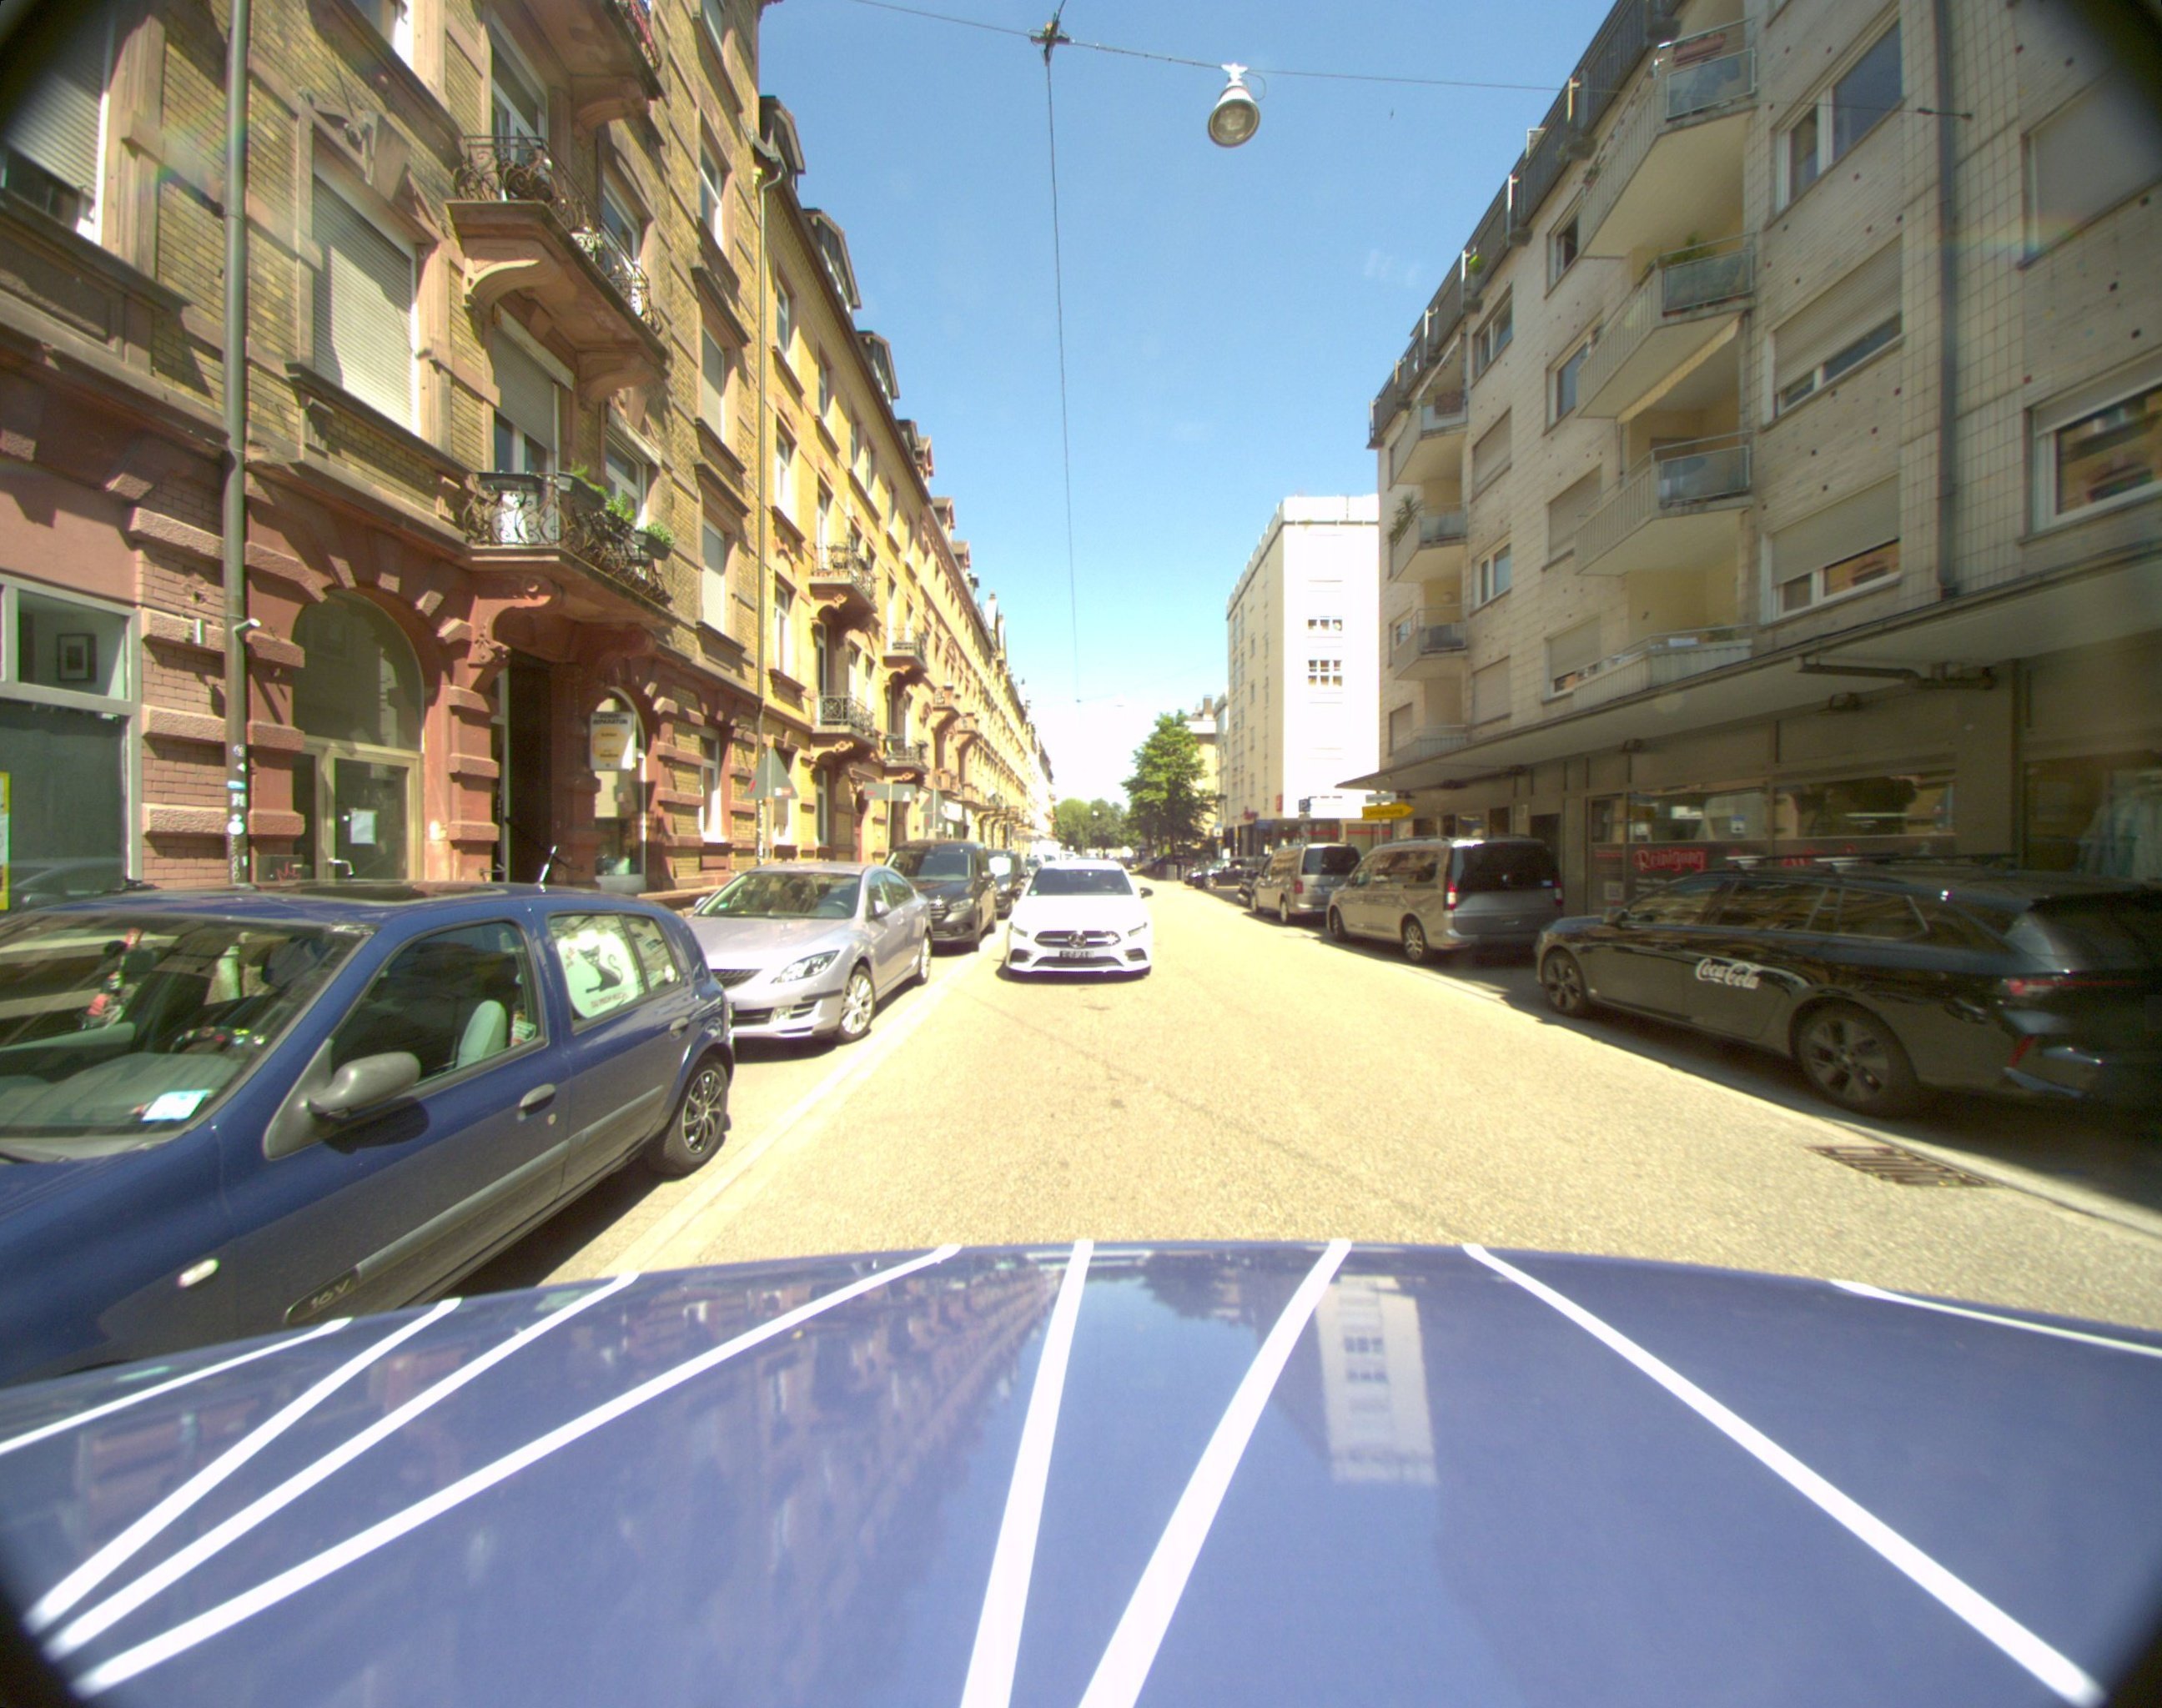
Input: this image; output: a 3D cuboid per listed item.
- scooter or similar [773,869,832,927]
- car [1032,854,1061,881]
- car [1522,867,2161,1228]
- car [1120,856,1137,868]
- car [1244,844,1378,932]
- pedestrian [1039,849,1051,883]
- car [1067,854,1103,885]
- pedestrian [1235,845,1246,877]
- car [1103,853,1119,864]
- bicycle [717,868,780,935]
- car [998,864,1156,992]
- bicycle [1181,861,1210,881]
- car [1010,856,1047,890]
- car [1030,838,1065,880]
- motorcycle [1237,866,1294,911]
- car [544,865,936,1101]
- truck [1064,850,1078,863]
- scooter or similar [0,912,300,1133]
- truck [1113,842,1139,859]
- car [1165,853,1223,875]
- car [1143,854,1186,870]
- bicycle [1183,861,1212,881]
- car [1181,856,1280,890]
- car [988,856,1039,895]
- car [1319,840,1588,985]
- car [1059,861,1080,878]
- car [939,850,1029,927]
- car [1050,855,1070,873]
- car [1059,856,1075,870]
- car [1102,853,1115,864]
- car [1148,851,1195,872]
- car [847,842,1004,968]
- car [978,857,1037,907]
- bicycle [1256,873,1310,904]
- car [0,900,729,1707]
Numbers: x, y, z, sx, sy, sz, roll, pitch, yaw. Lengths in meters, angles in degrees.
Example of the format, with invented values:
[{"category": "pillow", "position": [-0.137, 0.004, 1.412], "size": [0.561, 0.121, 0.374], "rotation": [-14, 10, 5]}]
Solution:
[{"category": "scooter or similar", "position": [-6.004, 0.919, 16.513], "size": [0.477, 1.146, 2.149], "rotation": [0, 0, 0]}, {"category": "car", "position": [-2.085, 0.789, 46.079], "size": [1.682, 1.528, 3.999], "rotation": [-1, 0, -2]}, {"category": "car", "position": [5.380, 0.912, 5.639], "size": [1.674, 1.516, 4.464], "rotation": [-1, 0, 1]}, {"category": "car", "position": [6.530, 1.074, 104.363], "size": [1.998, 1.505, 4.000], "rotation": [-2, 0, 1]}, {"category": "car", "position": [5.370, 0.720, 18.440], "size": [1.793, 1.818, 4.900], "rotation": [-1, 0, 1]}, {"category": "pedestrian", "position": [-1.987, 0.650, 41.866], "size": [0.635, 1.903, 0.370], "rotation": [0, 1, 0]}, {"category": "car", "position": [0.229, 0.792, 40.430], "size": [1.780, 1.460, 4.000], "rotation": [-2, 0, 1]}, {"category": "pedestrian", "position": [10.749, 0.486, 51.170], "size": [0.608, 2.113, 0.496], "rotation": [0, 1, 36]}, {"category": "car", "position": [4.265, 0.590, 108.632], "size": [1.998, 1.505, 4.000], "rotation": [-2, 0, 1]}, {"category": "bicycle", "position": [-5.990, 0.822, 13.772], "size": [0.354, 1.097, 1.755], "rotation": [0, 0, 0]}, {"category": "car", "position": [0.006, 0.885, 10.892], "size": [1.814, 1.417, 4.242], "rotation": [0, 0, 1]}, {"category": "bicycle", "position": [6.640, 0.972, 43.925], "size": [1.608, 1.084, 0.371], "rotation": [-2, 0, 6]}, {"category": "car", "position": [-2.398, 0.833, 35.620], "size": [1.603, 1.454, 3.689], "rotation": [-1, 0, -2]}, {"category": "car", "position": [-2.243, 0.300, 52.007], "size": [2.067, 2.687, 5.039], "rotation": [-2, 0, 1]}, {"category": "motorcycle", "position": [5.401, 0.994, 22.332], "size": [1.552, 1.277, 0.394], "rotation": [-1, 2, 33]}, {"category": "car", "position": [-2.633, 0.872, 7.159], "size": [1.730, 1.424, 4.485], "rotation": [1, 0, -1]}, {"category": "truck", "position": [-1.407, 0.371, 113.682], "size": [1.998, 2.002, 4.902], "rotation": [0, 0, 1]}, {"category": "scooter or similar", "position": [-6.028, 1.016, 5.007], "size": [0.293, 1.170, 1.273], "rotation": [0, 0, 10]}, {"category": "truck", "position": [8.724, -0.691, 147.295], "size": [2.757, 3.270, 4.968], "rotation": [1, 1, 37]}, {"category": "car", "position": [7.947, 0.707, 53.602], "size": [3.885, 1.520, 1.652], "rotation": [0, 0, 0]}, {"category": "car", "position": [7.856, 0.737, 71.749], "size": [3.885, 1.487, 1.652], "rotation": [0, 0, 0]}, {"category": "bicycle", "position": [6.531, 0.940, 42.637], "size": [1.608, 1.084, 0.371], "rotation": [-2, 0, 6]}, {"category": "car", "position": [6.529, 0.803, 33.461], "size": [3.891, 1.417, 1.814], "rotation": [0, 0, -8]}, {"category": "car", "position": [-2.697, 0.825, 31.009], "size": [1.830, 1.452, 3.999], "rotation": [-1, 0, -2]}, {"category": "car", "position": [5.491, 0.743, 12.023], "size": [1.793, 1.801, 4.698], "rotation": [-1, 0, -2]}, {"category": "car", "position": [-0.920, 1.214, 60.373], "size": [1.533, 1.293, 3.686], "rotation": [-1, 0, -2]}, {"category": "car", "position": [-2.340, 0.772, 19.322], "size": [1.706, 1.723, 4.000], "rotation": [-1, 0, 1]}, {"category": "car", "position": [-1.880, 0.892, 67.633], "size": [1.682, 1.528, 3.999], "rotation": [-1, 0, -2]}, {"category": "car", "position": [-1.617, 1.002, 86.134], "size": [1.682, 1.528, 3.999], "rotation": [-1, 0, -2]}, {"category": "car", "position": [4.600, 0.770, 127.727], "size": [1.998, 1.674, 4.000], "rotation": [-2, 0, 1]}, {"category": "car", "position": [7.868, 0.648, 66.127], "size": [3.885, 1.737, 1.652], "rotation": [0, 0, 0]}, {"category": "car", "position": [-2.411, 0.711, 12.913], "size": [1.829, 1.756, 4.337], "rotation": [1, 0, -1]}, {"category": "car", "position": [-2.382, 0.863, 24.802], "size": [1.766, 1.441, 3.903], "rotation": [-1, 0, -5]}, {"category": "bicycle", "position": [6.584, 1.104, 24.855], "size": [1.706, 0.951, 0.411], "rotation": [-1, 1, 43]}, {"category": "car", "position": [-2.654, 0.975, 2.195], "size": [1.631, 1.424, 3.659], "rotation": [1, 0, -1]}]
